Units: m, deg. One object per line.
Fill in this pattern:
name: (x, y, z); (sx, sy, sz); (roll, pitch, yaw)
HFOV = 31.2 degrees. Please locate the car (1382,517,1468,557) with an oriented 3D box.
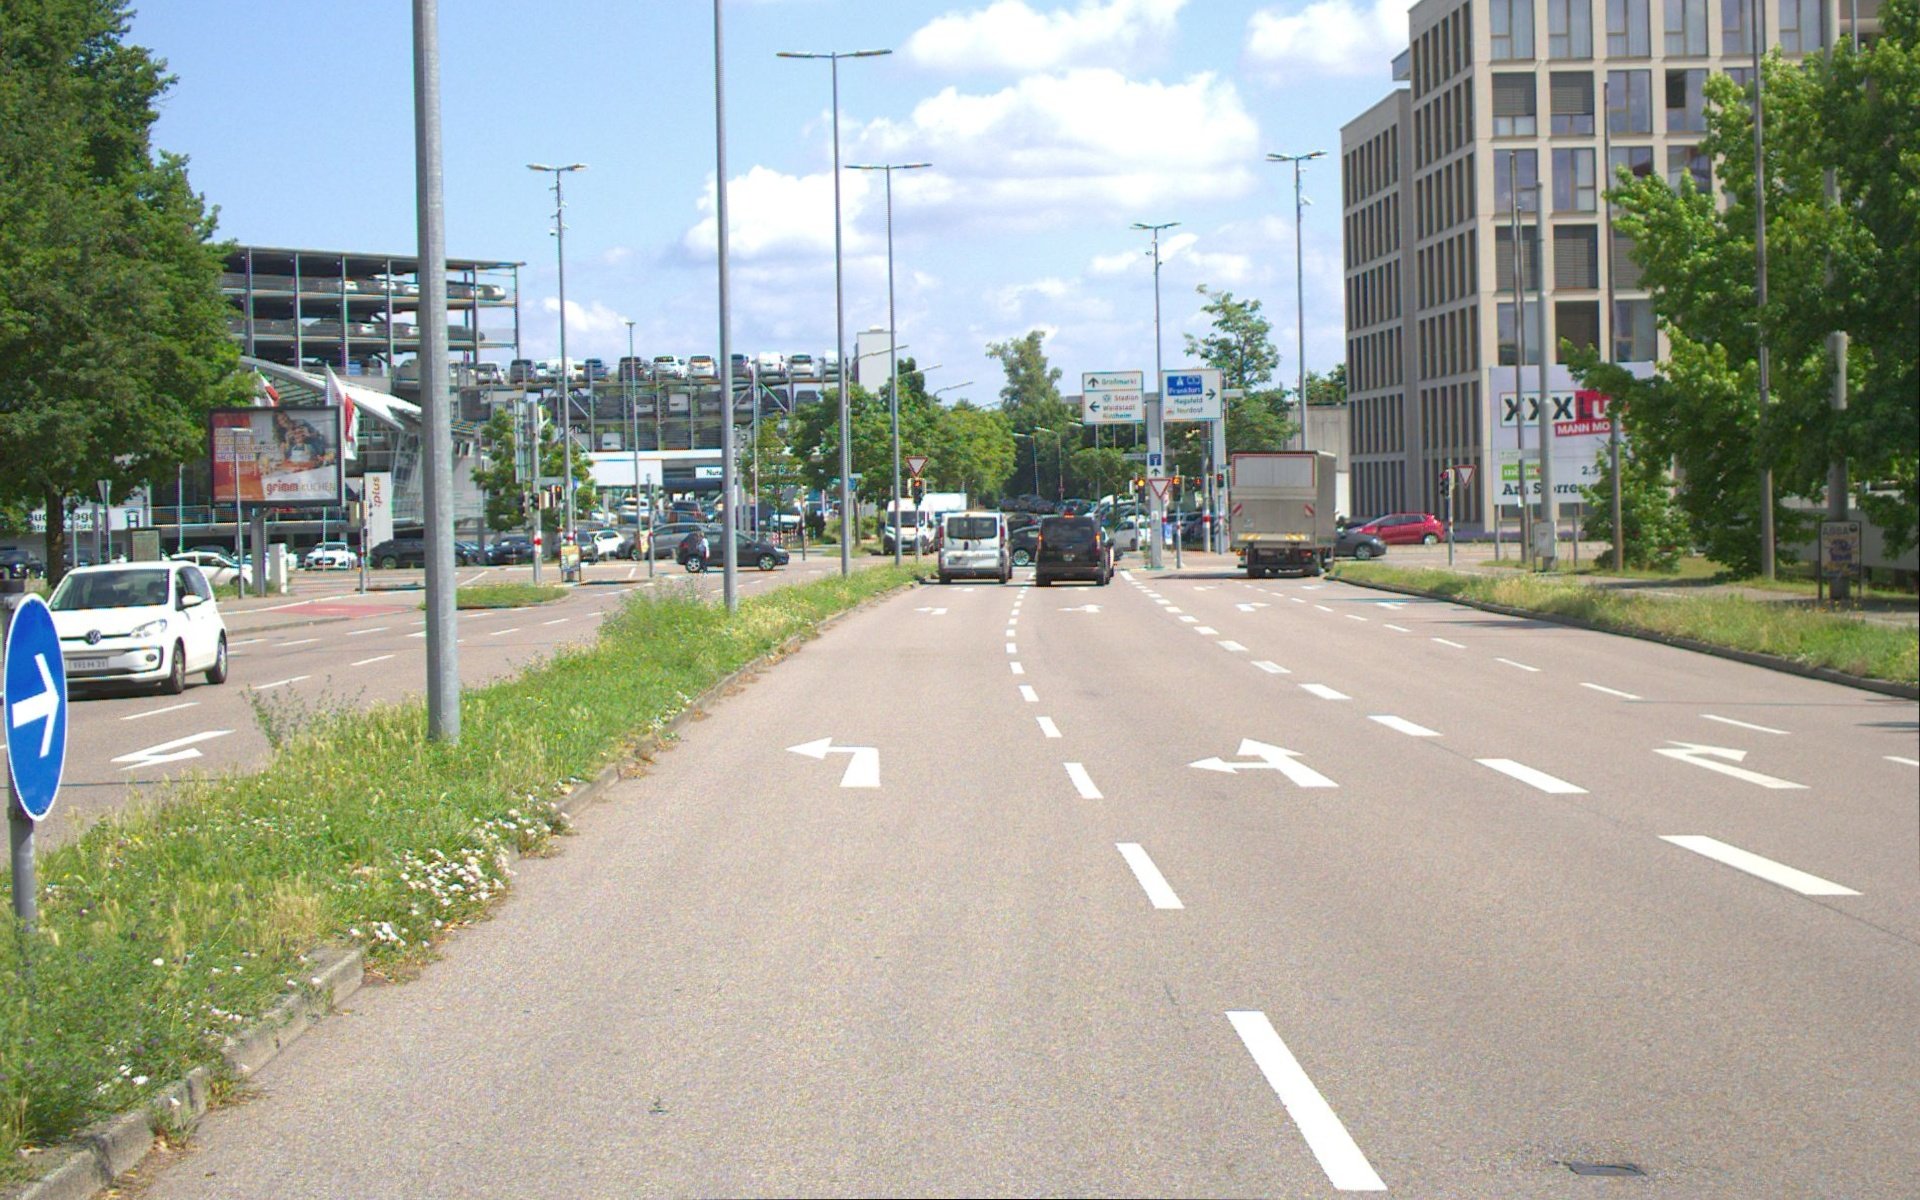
car: (18.815, -2.556, 139.244); (3.272, 1.400, 1.334); (-1, 10, 0)

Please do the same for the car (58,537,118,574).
car: (-37.482, -1.941, 147.812); (1.727, 1.481, 3.702); (-1, 2, -2)

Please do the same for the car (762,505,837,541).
car: (-8.696, -4.177, 185.711); (3.986, 1.919, 1.827); (-1, 1, -4)

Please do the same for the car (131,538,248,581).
car: (-27.583, -1.457, 123.141); (3.850, 1.461, 1.696); (-1, 2, -2)

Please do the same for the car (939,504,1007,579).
car: (0.339, -1.635, 94.969); (1.856, 2.011, 4.001); (0, 2, 0)

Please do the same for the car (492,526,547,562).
car: (-19.255, -2.448, 150.068); (1.816, 1.546, 4.001); (-1, 1, -15)

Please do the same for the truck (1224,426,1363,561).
truck: (10.248, -3.271, 104.778); (3.131, 3.927, 8.854); (0, 2, 13)

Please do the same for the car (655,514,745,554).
car: (-11.641, -2.971, 154.234); (3.861, 1.634, 1.858); (-2, 2, -2)

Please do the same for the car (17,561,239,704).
car: (-9.255, 0.327, 38.490); (1.643, 1.424, 3.671); (-2, 1, -2)

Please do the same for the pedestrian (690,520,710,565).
pedestrian: (-8.814, -1.950, 116.407); (0.470, 1.507, 0.511); (0, 1, 27)

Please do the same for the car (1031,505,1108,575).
car: (2.905, -1.593, 90.496); (1.820, 1.802, 4.000); (0, 1, 5)
